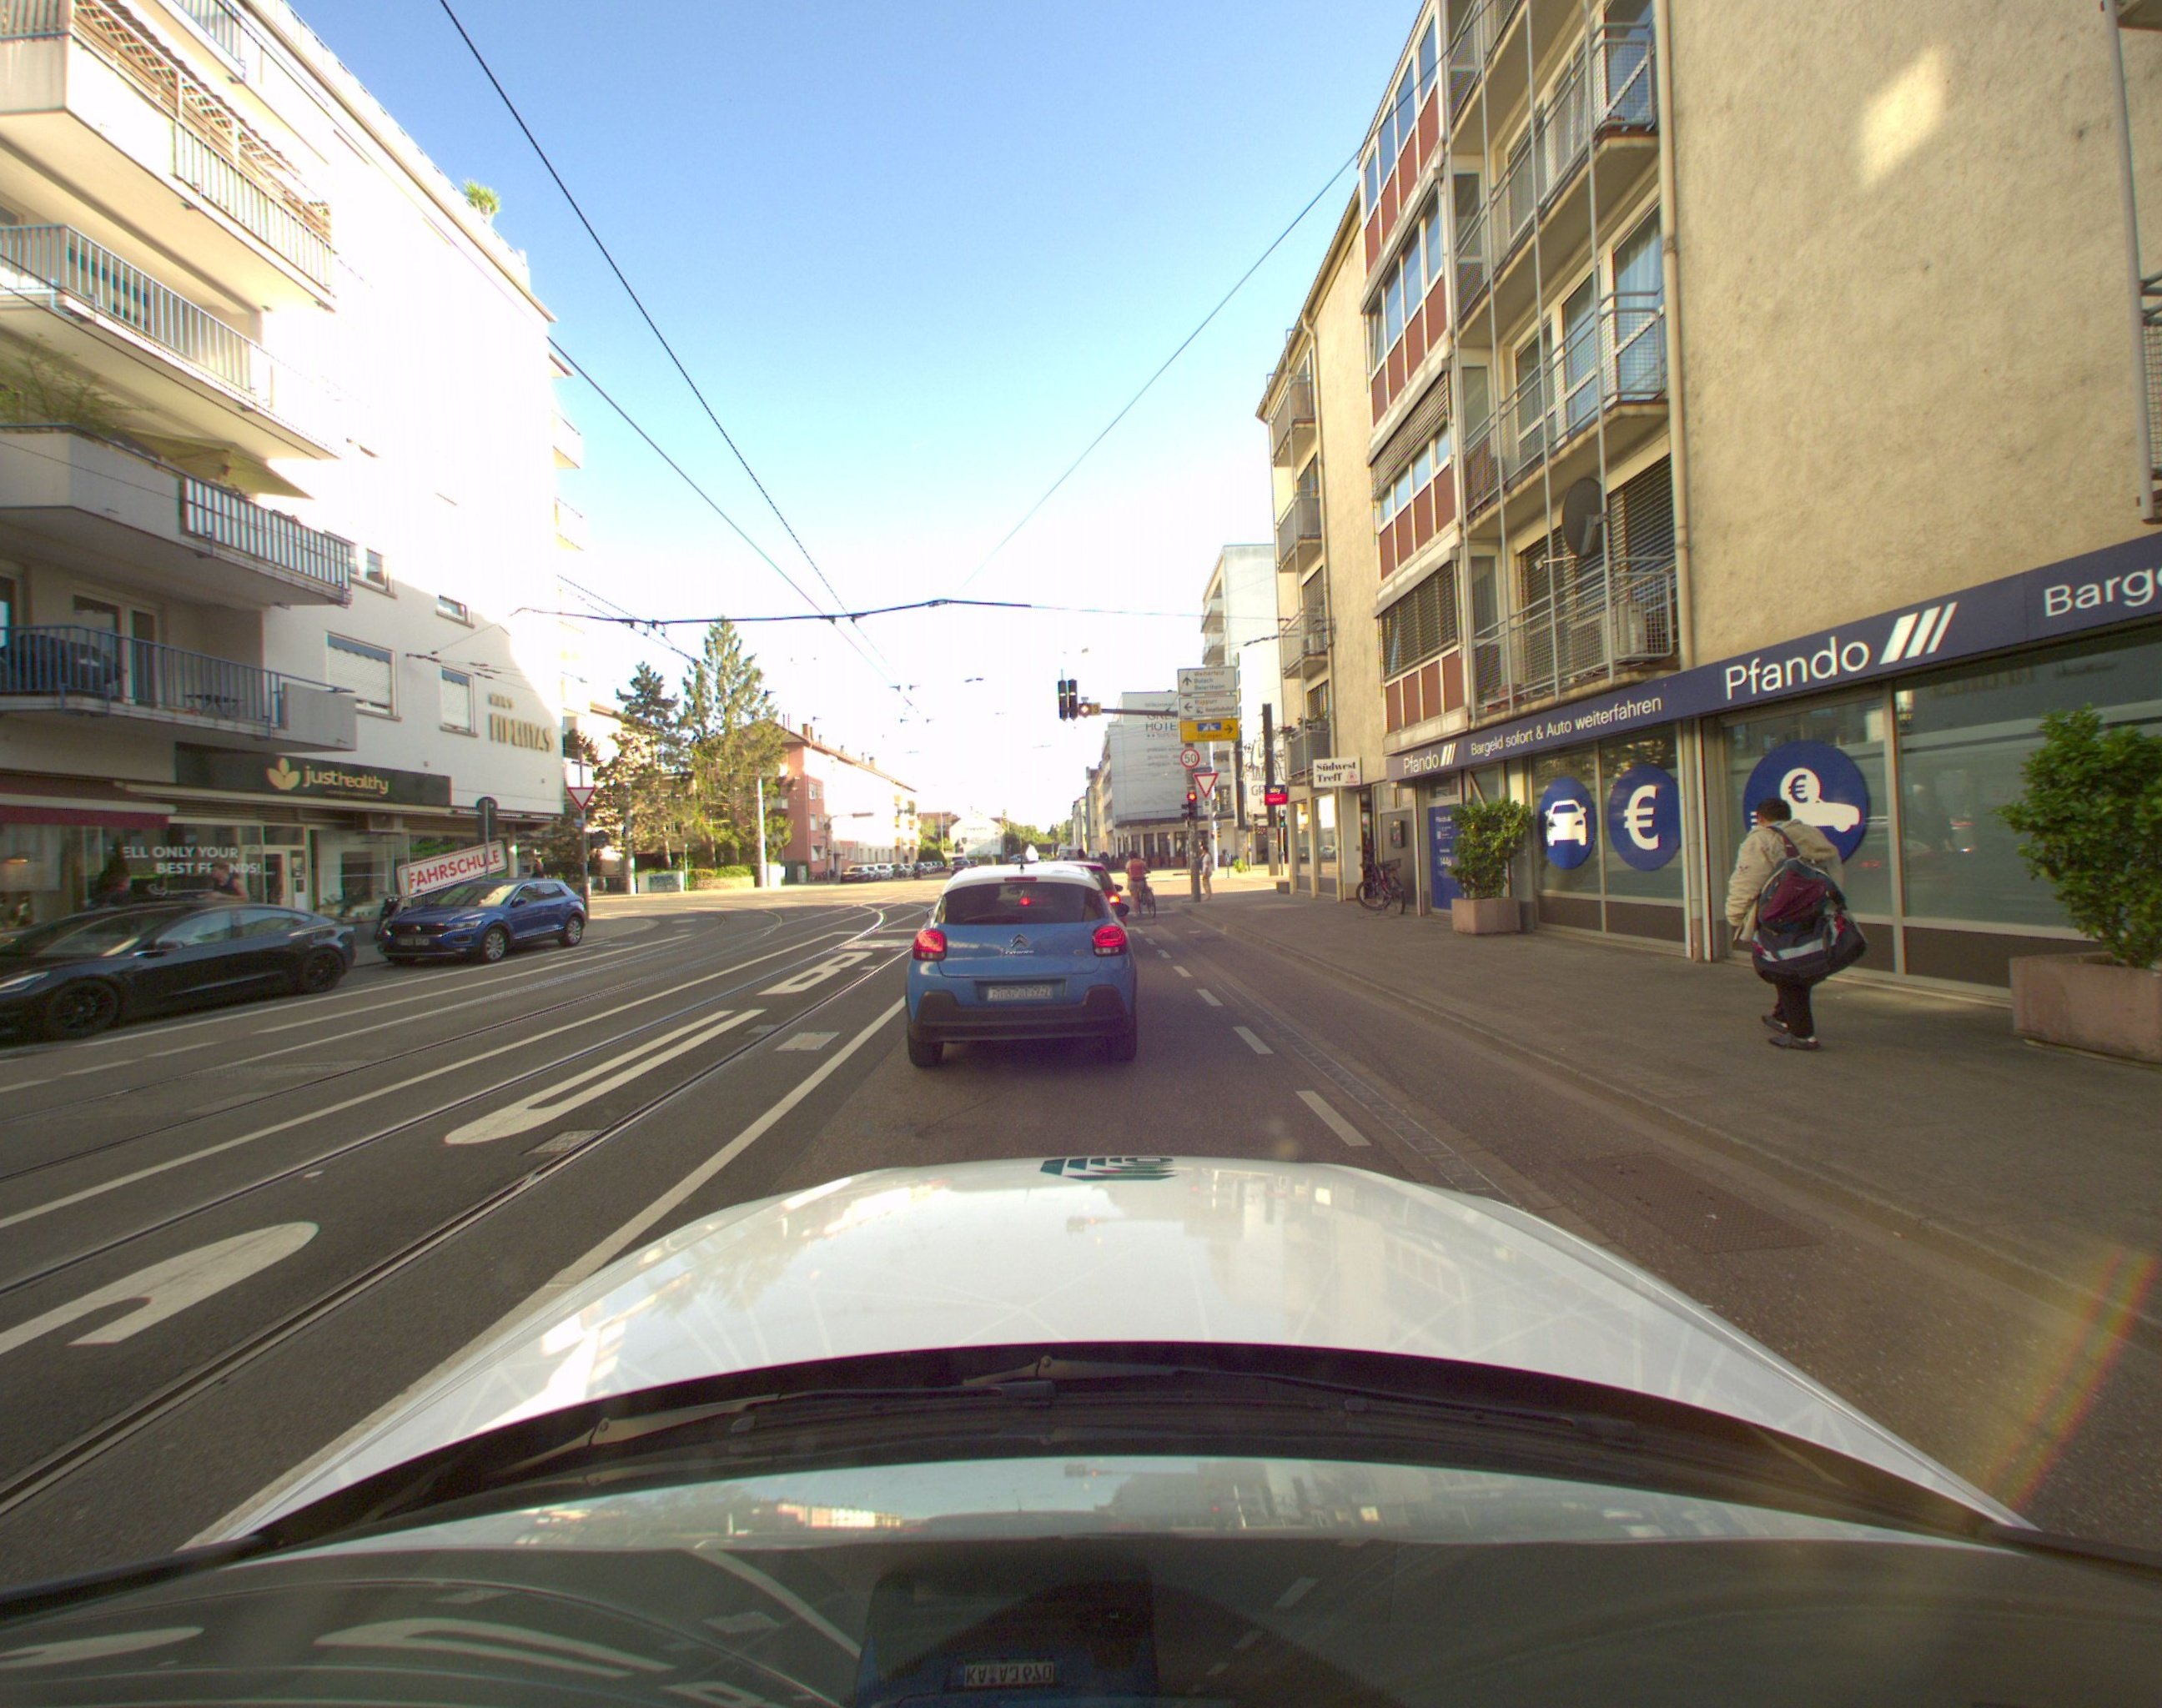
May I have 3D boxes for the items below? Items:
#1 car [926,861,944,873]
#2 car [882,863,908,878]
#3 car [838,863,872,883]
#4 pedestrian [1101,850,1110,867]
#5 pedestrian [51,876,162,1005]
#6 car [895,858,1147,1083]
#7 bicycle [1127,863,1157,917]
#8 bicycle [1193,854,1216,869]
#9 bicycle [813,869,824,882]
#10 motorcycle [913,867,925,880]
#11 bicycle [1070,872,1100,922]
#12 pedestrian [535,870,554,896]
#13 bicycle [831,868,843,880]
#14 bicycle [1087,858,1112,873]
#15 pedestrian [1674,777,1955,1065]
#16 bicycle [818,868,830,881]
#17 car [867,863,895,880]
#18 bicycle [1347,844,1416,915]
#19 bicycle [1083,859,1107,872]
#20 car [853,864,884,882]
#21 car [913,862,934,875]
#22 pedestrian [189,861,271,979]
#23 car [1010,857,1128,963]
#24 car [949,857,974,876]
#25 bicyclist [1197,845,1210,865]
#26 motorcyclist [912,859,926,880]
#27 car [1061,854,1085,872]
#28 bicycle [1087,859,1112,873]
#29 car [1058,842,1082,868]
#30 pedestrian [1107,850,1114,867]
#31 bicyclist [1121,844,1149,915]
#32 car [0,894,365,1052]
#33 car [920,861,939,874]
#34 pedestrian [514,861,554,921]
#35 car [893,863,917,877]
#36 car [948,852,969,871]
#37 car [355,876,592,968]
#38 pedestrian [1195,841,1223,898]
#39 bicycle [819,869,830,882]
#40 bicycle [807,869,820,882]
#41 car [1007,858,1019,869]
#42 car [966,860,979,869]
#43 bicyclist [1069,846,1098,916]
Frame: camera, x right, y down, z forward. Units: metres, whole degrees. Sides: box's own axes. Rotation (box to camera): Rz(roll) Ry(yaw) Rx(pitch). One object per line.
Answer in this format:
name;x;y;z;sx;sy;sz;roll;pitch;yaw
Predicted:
car;-20.720;1.858;115.686;1.947;1.519;3.995;-2;0;-4
car;-19.725;1.743;86.530;1.947;1.519;3.995;-2;0;-4
car;-19.287;1.602;69.622;1.947;1.519;3.995;-2;0;-4
pedestrian;2.107;0.402;70.381;0.520;1.420;0.550;-3;0;22
pedestrian;-13.592;1.180;11.382;0.601;1.708;0.730;-2;0;-1
car;-0.450;0.790;7.501;1.675;1.462;3.997;-1;0;-2
bicycle;1.535;0.888;20.728;0.611;1.264;1.911;-2;0;2
bicycle;9.080;0.551;59.975;1.474;1.091;0.609;-3;0;27
bicycle;-21.970;1.795;68.189;0.537;1.082;1.905;-2;0;-9
motorcycle;-13.480;1.600;67.763;0.751;0.976;2.092;-2;0;-7
bicycle;0.079;1.023;19.867;0.615;1.103;1.884;-2;0;-2
pedestrian;-36.744;2.005;55.784;0.805;1.702;0.681;-2;0;1
bicycle;-22.713;1.862;75.805;0.608;1.082;1.908;-2;0;-4
bicycle;1.520;0.935;65.937;1.901;1.064;0.641;-2;0;-6
pedestrian;4.483;0.372;5.057;0.871;1.571;0.868;-4;0;-1
bicycle;-23.046;1.844;73.109;0.536;1.082;1.908;-2;0;-4
car;-19.556;1.687;79.857;1.947;1.519;3.995;-2;0;-4
bicycle;5.761;0.458;15.741;0.637;1.264;1.911;-2;0;2
bicycle;1.164;0.958;68.446;1.901;1.064;0.641;-2;0;-6
car;-19.567;1.720;75.245;1.947;1.519;4.040;-2;0;-4
car;-20.092;1.805;104.041;1.947;1.519;3.995;-2;0;-4
pedestrian;-14.020;1.054;13.443;0.673;1.857;0.747;-2;0;-27
car;-0.224;0.810;13.710;1.675;1.462;3.997;-1;0;-2
car;-11.342;1.167;77.449;2.002;1.627;5.044;-2;0;-5
bicyclist;9.020;0.098;59.995;0.720;1.434;0.609;-3;0;28
motorcyclist;-13.471;1.272;67.695;0.990;1.631;0.737;-2;0;-7
car;-0.712;0.747;67.988;1.783;1.359;3.909;-2;0;-4
bicycle;1.529;0.966;67.243;1.901;1.064;0.641;-2;0;-6
car;-1.035;0.092;73.449;2.074;2.269;5.647;-1;0;-2
pedestrian;2.527;0.385;70.119;0.467;1.420;0.524;-2;0;-11
bicyclist;1.371;0.634;20.695;0.598;1.746;1.084;-2;0;2
car;-11.982;1.329;10.424;1.720;1.403;4.486;0;0;-2
car;-20.293;1.778;109.330;1.947;1.519;3.995;-2;0;-4
pedestrian;-17.341;1.170;25.821;0.761;1.834;0.725;-2;0;28
car;-19.977;1.794;92.598;1.947;1.519;3.995;-2;0;-4
car;-18.121;1.110;120.578;2.489;2.712;5.828;-2;0;-5
car;-11.877;1.242;16.327;1.720;1.505;4.113;0;0;-2
pedestrian;3.832;0.456;24.351;0.747;1.635;0.742;-2;0;7
bicycle;-21.592;1.795;68.474;0.537;1.082;1.905;-2;0;-9
bicycle;-22.377;1.795;68.080;0.640;1.082;1.905;-2;0;-9
car;-14.259;1.991;171.413;2.333;2.039;5.044;-2;0;-4
car;-19.332;1.825;145.246;1.947;1.519;3.995;-2;0;-4
bicyclist;0.049;0.647;19.765;0.615;1.630;0.759;-2;0;-2
